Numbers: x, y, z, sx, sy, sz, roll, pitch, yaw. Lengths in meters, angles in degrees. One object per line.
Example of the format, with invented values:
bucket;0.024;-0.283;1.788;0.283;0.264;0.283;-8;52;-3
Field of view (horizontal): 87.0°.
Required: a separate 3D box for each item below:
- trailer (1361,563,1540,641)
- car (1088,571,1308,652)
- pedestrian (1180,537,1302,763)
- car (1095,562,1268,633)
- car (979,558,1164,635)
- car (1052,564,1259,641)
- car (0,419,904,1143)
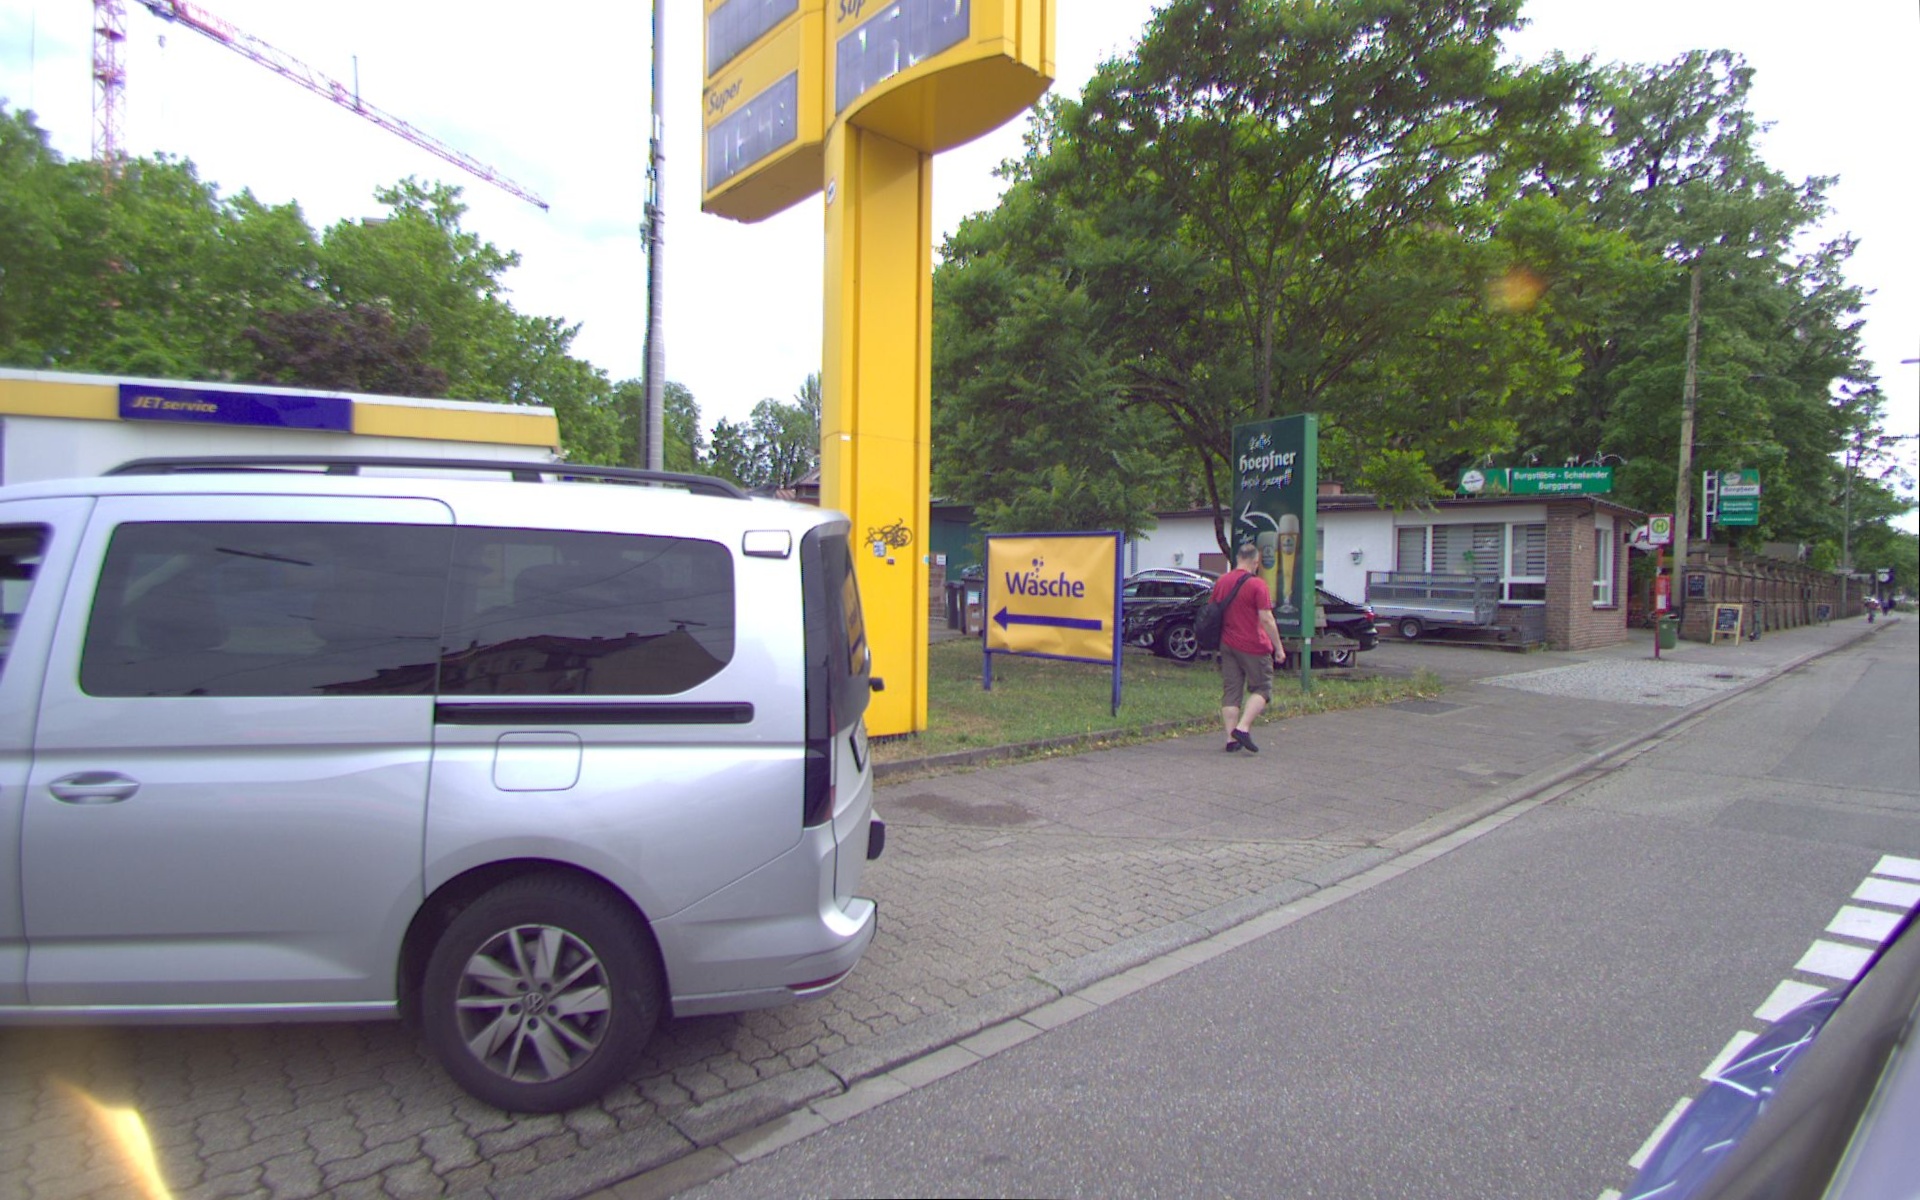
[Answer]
trailer;11.215;-0.017;23.249;1.745;1.549;3.286;-3;5;-44
car;4.387;0.159;18.434;3.930;1.304;1.997;-1;1;-41
pedestrian;2.396;0.375;8.584;0.859;1.768;0.845;3;3;20
car;5.653;-0.081;26.146;1.967;1.688;3.990;0;1;-44
car;2.543;-0.101;23.603;3.943;1.717;1.815;0;0;-8
car;4.034;0.029;21.282;3.921;1.536;1.828;0;0;-4
car;-2.474;0.426;3.607;4.438;1.865;1.990;2;2;-4
